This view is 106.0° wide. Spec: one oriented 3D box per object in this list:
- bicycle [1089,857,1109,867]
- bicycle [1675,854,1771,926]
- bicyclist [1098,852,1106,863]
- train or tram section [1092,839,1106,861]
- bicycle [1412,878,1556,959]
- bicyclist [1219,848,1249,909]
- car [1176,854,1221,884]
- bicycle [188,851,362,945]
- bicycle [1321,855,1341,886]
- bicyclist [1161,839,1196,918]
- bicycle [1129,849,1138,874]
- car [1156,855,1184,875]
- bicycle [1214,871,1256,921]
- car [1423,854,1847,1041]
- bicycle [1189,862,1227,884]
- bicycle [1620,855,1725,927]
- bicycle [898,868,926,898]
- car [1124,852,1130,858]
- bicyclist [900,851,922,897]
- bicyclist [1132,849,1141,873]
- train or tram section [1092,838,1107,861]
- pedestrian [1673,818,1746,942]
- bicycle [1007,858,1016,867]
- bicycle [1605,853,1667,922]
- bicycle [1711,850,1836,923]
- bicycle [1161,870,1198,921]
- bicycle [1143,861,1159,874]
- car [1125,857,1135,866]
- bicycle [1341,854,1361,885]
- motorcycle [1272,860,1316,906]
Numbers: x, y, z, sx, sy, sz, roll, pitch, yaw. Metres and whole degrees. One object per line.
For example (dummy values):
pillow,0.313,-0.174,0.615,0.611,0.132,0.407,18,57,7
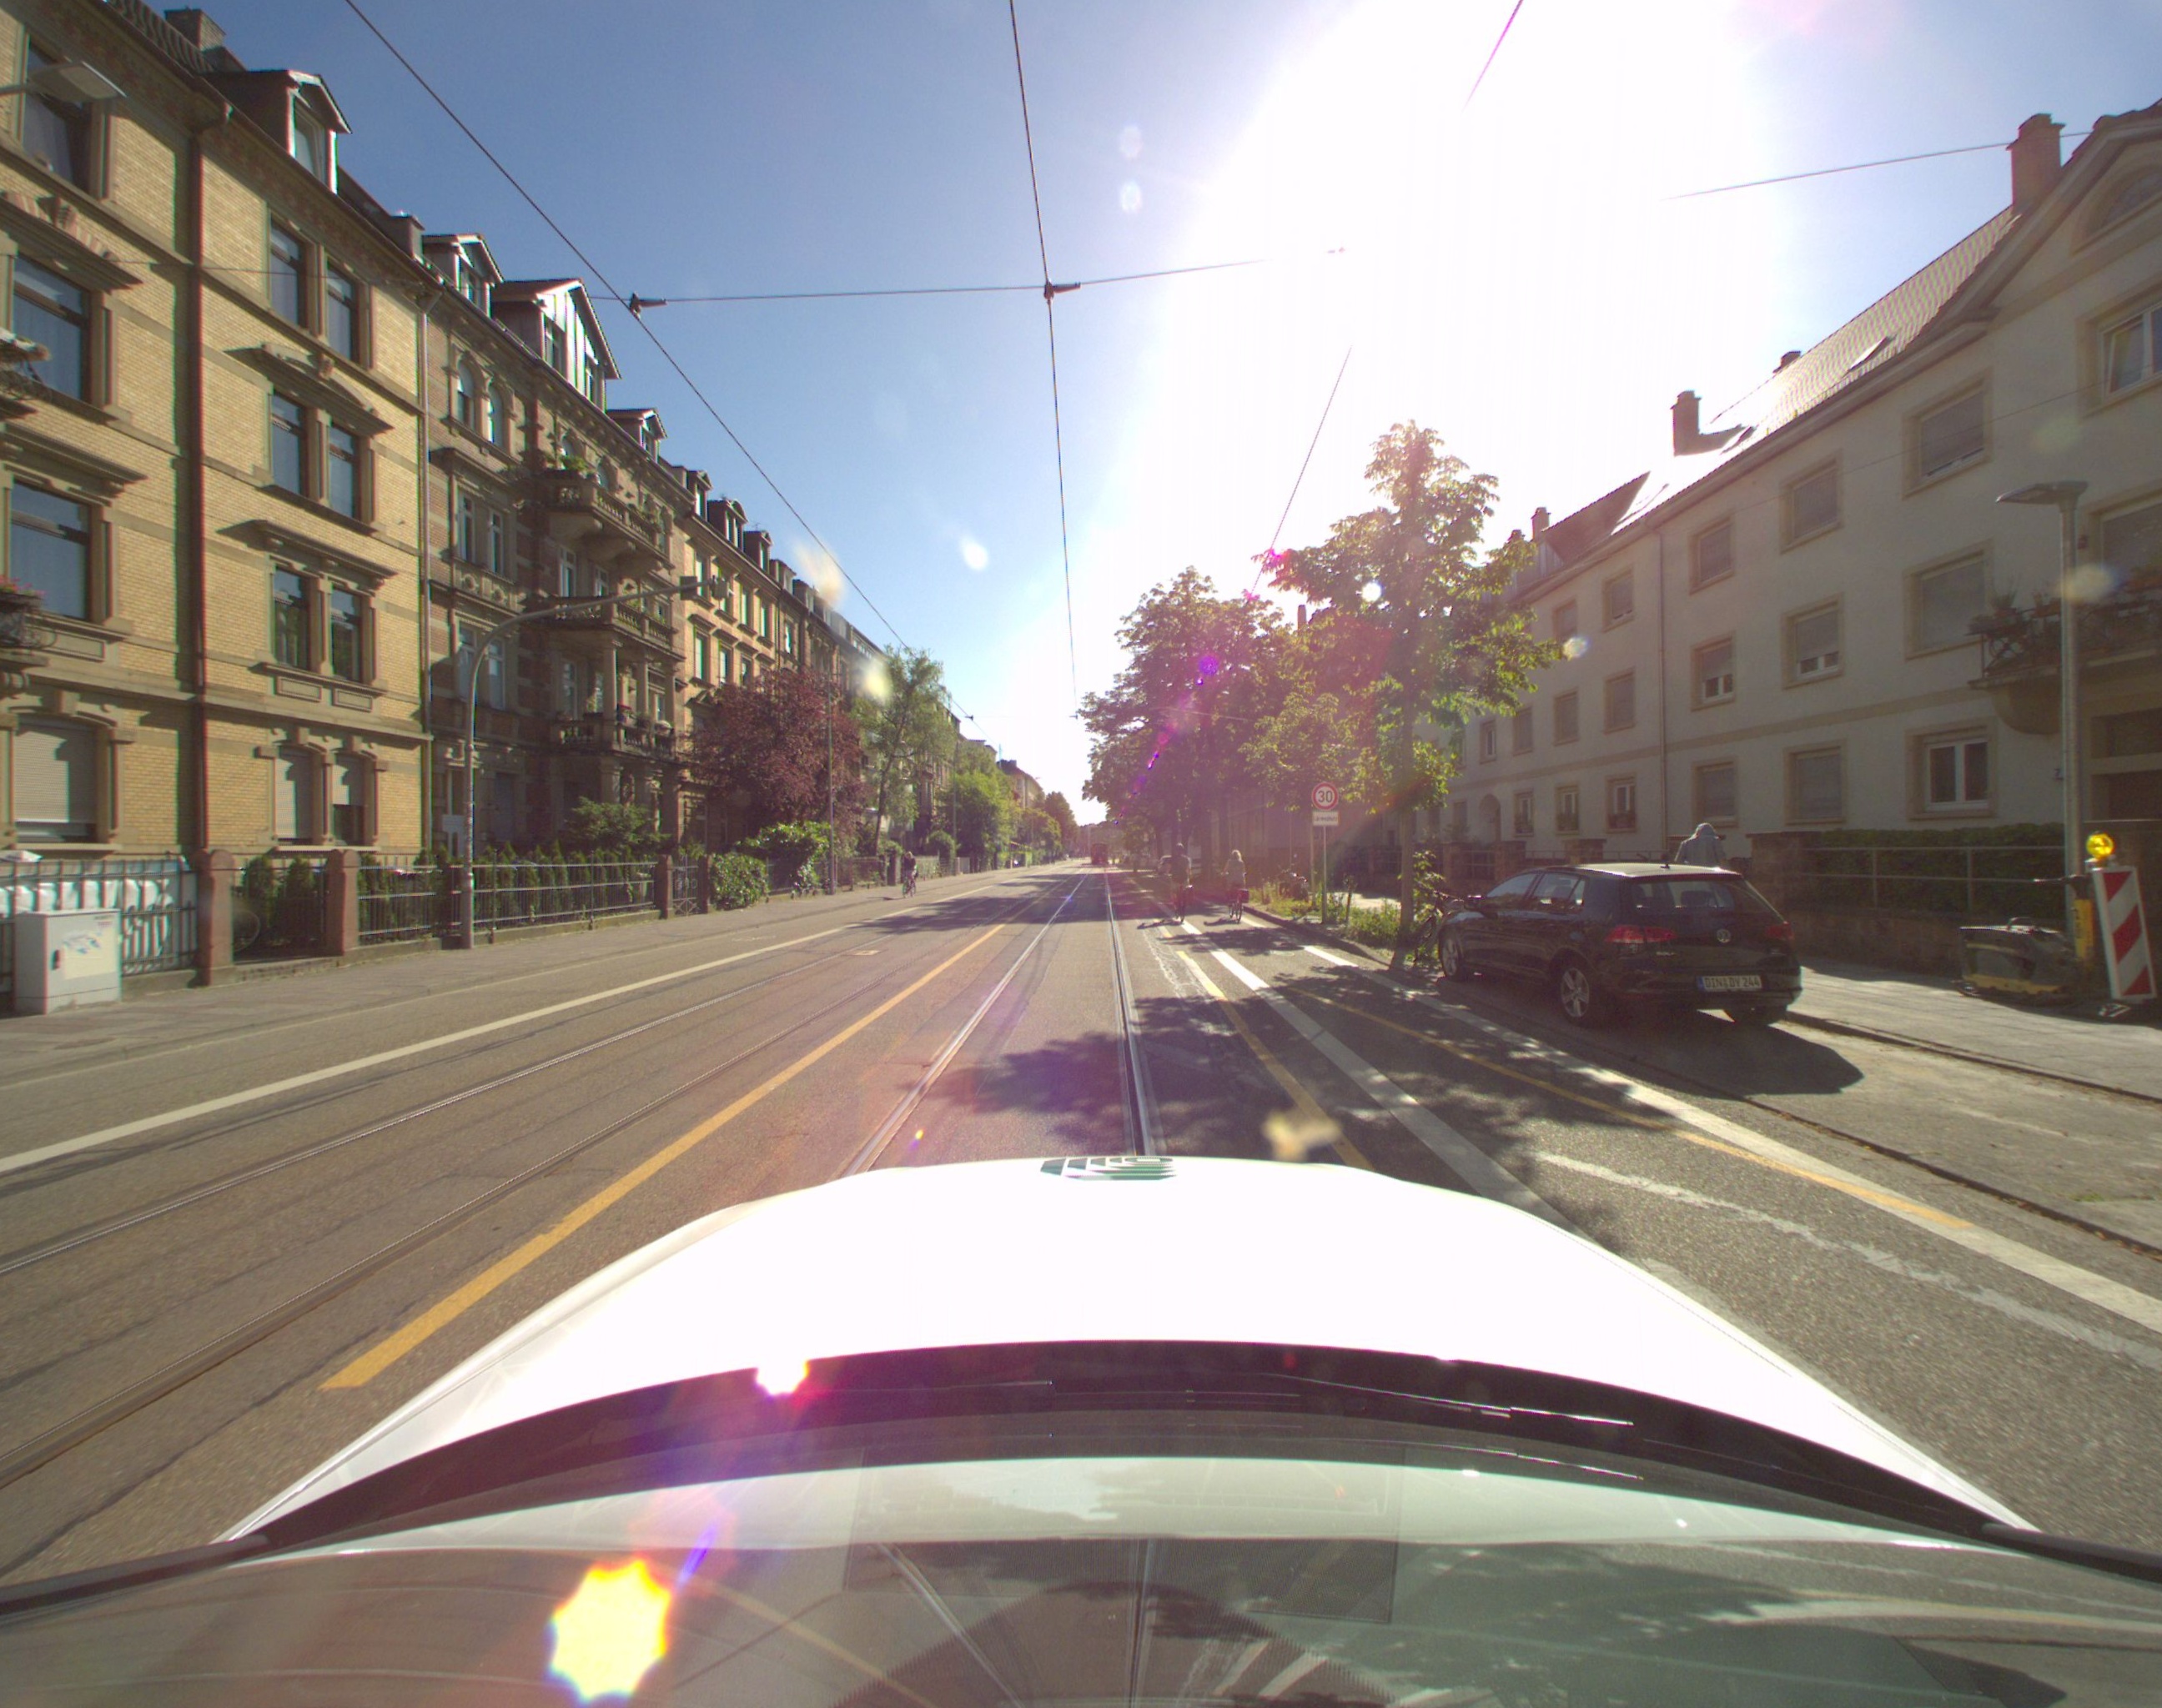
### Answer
bicycle,2.095,0.901,93.620,2.123,1.171,0.806,1,0,16
bicycle,10.878,0.578,13.859,0.439,1.153,1.575,1,0,2
bicyclist,2.409,0.417,93.303,0.766,1.291,0.736,1,0,17
train or tram section,2.990,-0.620,133.381,2.146,3.431,6.612,1,0,1
bicycle,5.897,0.930,11.960,1.789,1.067,0.620,-2,0,-4
bicyclist,3.774,0.601,20.135,0.633,1.468,0.616,1,0,1
car,6.285,0.768,44.020,1.624,1.436,4.662,-1,0,-2
bicycle,-11.715,0.626,11.886,1.761,1.320,0.612,1,0,-8
bicycle,10.431,0.675,33.966,0.433,1.223,1.374,0,0,2
bicyclist,2.317,0.579,19.501,0.725,1.848,0.837,1,0,0
bicycle,4.059,0.542,62.705,0.660,1.859,2.261,1,0,3
car,6.824,0.850,62.616,1.742,1.420,4.001,-2,0,1
bicycle,3.763,0.997,20.017,0.689,1.112,1.918,1,0,2
car,5.319,0.755,8.591,1.781,1.464,4.045,-1,0,1
bicycle,6.394,0.955,40.955,1.786,1.019,0.620,-3,0,0
bicycle,10.108,0.590,14.009,0.446,1.153,1.918,-1,0,2
bicycle,-6.735,1.130,32.571,0.689,1.112,1.719,-2,0,2
car,13.766,0.267,243.284,1.865,1.662,3.515,1,0,1
bicyclist,-6.745,0.788,32.322,0.658,1.801,0.616,-3,-1,1
bicyclist,4.214,0.533,62.062,0.643,1.796,0.956,1,0,1
train or tram section,2.847,-0.631,126.725,2.146,3.431,6.612,1,0,1
pedestrian,9.071,0.361,11.786,0.755,1.724,0.583,1,0,30
bicycle,-8.011,0.974,93.664,0.634,1.069,1.822,1,0,-15
bicycle,10.651,0.618,15.666,0.347,1.261,1.427,1,0,6
bicycle,11.742,0.508,13.889,0.542,1.153,1.918,1,0,2
bicycle,2.330,0.964,19.429,0.689,1.112,1.719,1,0,2
bicycle,5.790,1.103,67.614,1.262,1.024,0.706,1,-1,9
car,8.719,1.332,145.512,1.748,1.552,3.678,0,0,1
bicycle,11.139,0.621,33.637,0.433,1.223,1.374,0,0,2
motorcycle,5.999,0.789,23.054,0.494,1.190,1.858,-4,1,-6
